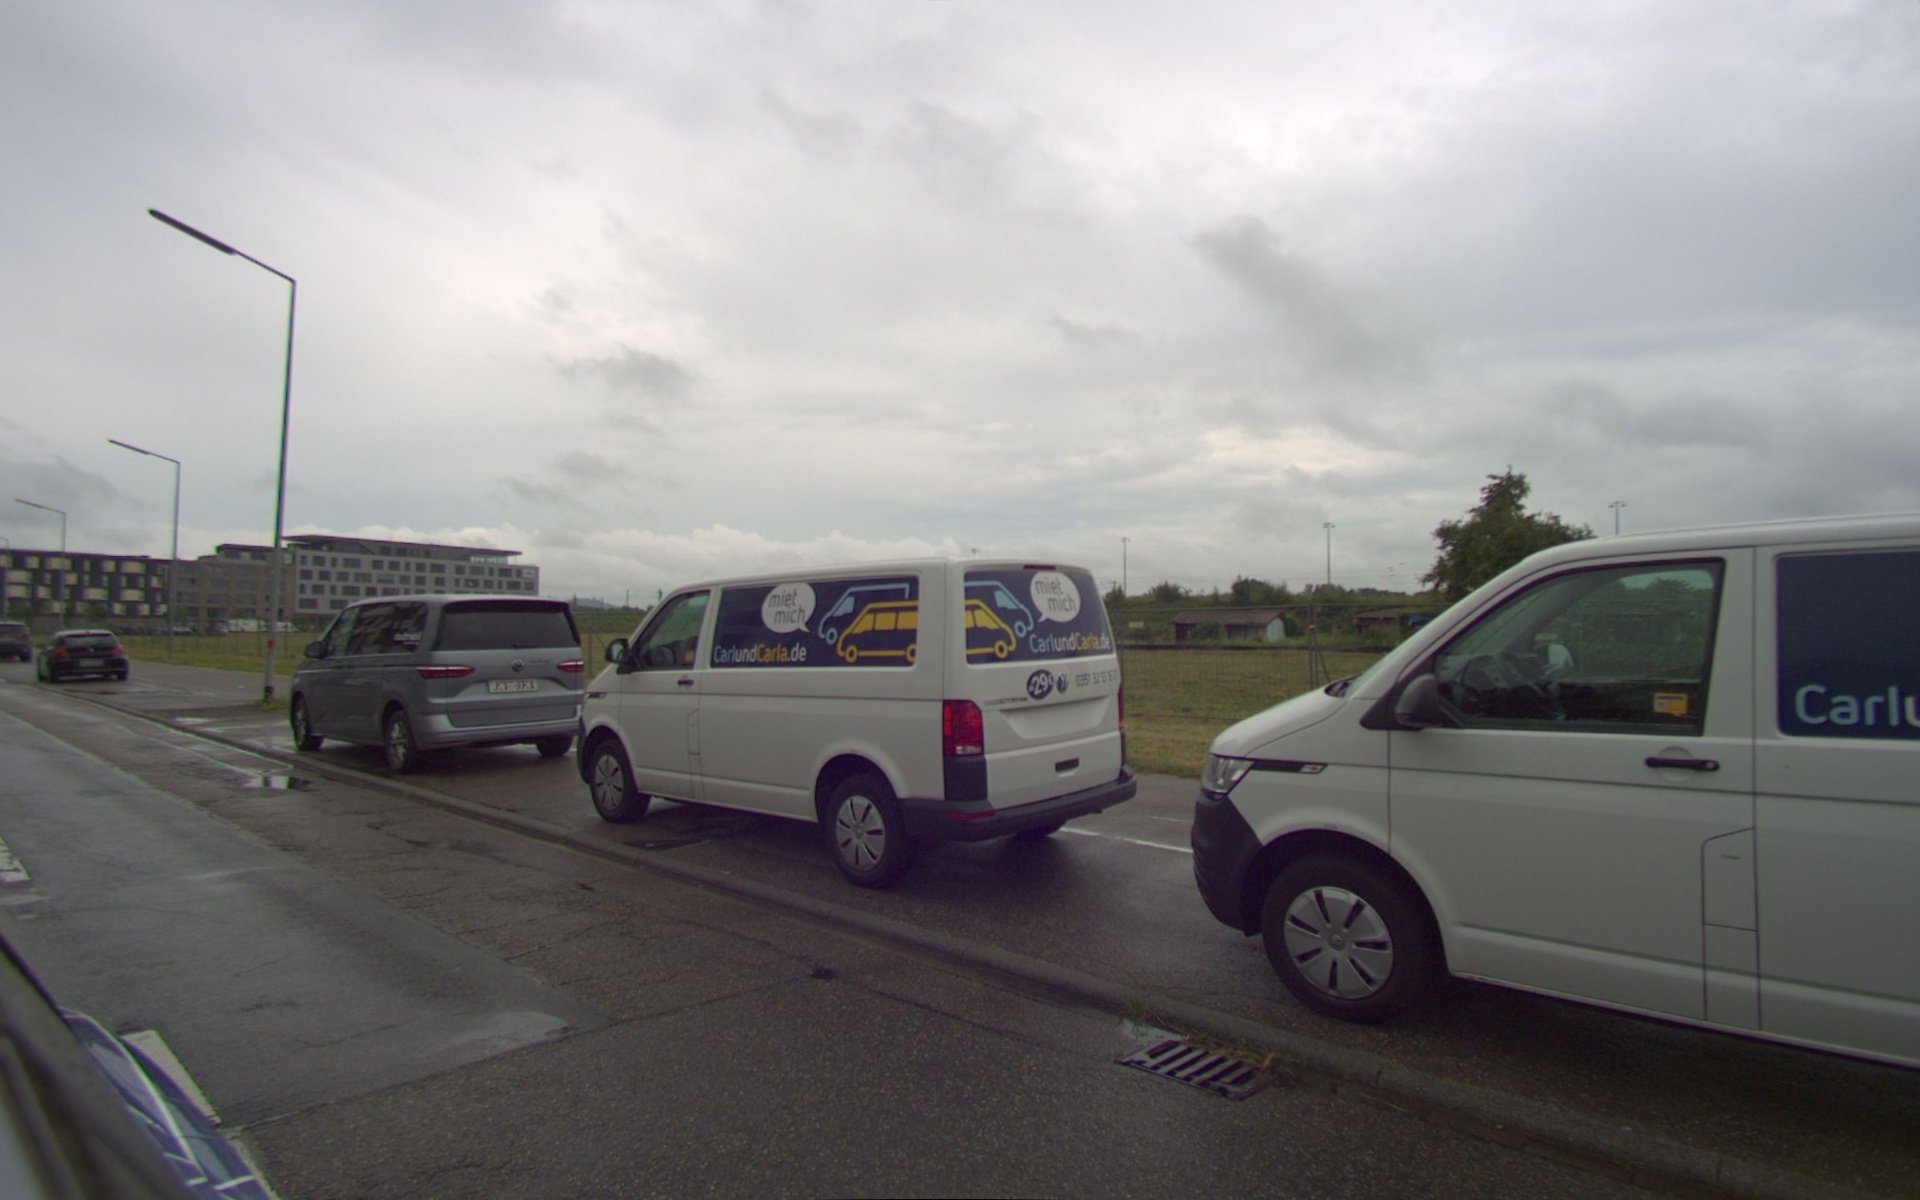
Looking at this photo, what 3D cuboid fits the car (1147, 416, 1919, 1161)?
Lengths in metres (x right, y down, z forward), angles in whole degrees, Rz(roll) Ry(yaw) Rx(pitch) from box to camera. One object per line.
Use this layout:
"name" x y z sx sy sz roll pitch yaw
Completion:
"car" 3.434 0.530 3.446 5.272 2.074 1.939 -1 -2 42

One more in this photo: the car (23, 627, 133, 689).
"car" -25.047 1.583 28.701 4.151 1.573 1.828 -1 0 42

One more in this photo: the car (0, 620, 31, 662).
"car" -40.970 1.722 43.116 4.882 1.706 1.733 -2 -3 44

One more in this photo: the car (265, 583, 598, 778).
"car" -6.590 0.845 12.334 4.993 1.916 1.935 -1 -2 42

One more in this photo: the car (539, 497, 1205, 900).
"car" -0.994 0.561 7.562 5.256 2.029 1.875 -1 -3 42

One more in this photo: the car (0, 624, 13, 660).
"car" -45.261 1.921 46.808 4.131 1.602 1.734 -2 -3 42
